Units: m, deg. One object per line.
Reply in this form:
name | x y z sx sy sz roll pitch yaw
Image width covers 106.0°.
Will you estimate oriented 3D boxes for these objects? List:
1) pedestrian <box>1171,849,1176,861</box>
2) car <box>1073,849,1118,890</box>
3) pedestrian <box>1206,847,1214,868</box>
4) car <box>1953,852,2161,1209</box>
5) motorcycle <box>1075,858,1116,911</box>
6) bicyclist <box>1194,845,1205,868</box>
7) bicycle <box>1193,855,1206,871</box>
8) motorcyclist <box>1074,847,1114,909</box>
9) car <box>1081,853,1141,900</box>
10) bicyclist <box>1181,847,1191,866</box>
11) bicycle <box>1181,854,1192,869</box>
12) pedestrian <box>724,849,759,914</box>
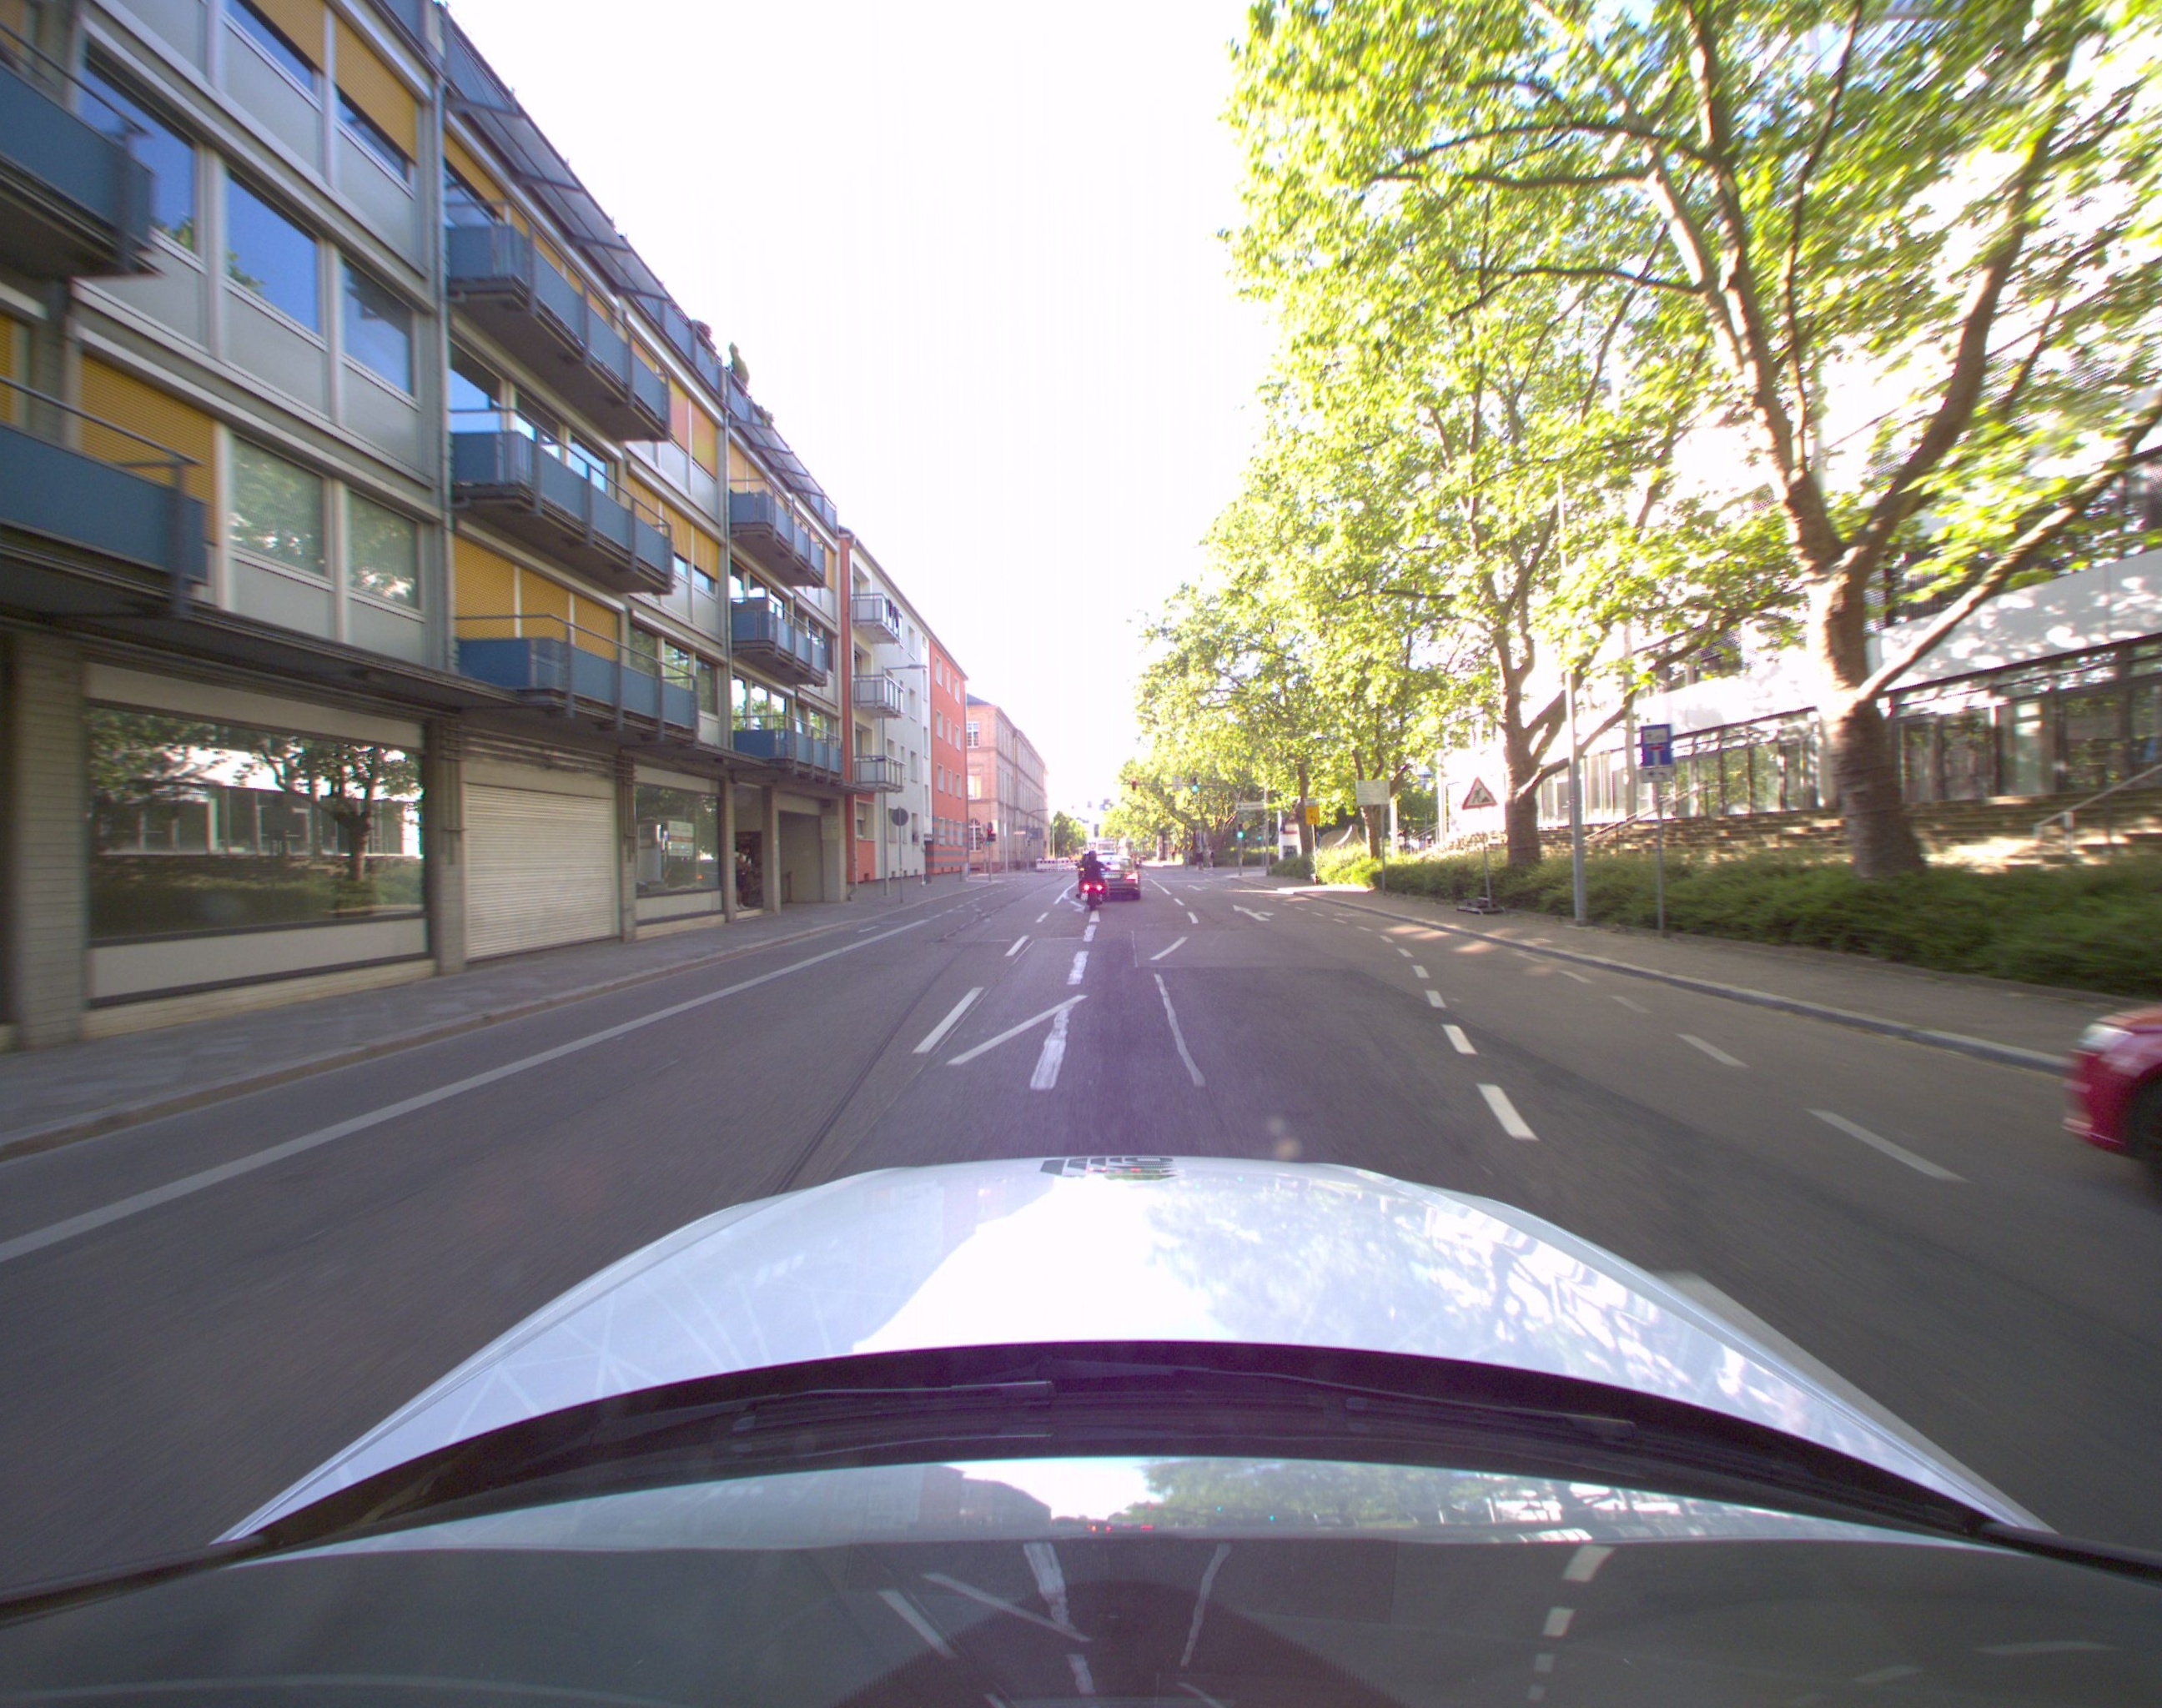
pedestrian | 12.345 0.188 108.937 0.590 1.578 0.527 0 -1 2
car | 0.550 0.632 34.438 1.627 1.650 3.845 0 0 -4
pedestrian | 11.262 0.303 70.878 0.619 1.774 0.574 0 -1 14
car | 5.233 0.732 1.892 1.687 1.449 4.435 1 0 0
motorcycle | 0.413 0.783 22.131 1.008 1.306 2.673 -1 0 2
bicyclist | 7.964 0.155 54.840 0.653 1.530 0.852 0 -1 1
bicycle | 7.961 0.599 54.842 0.653 1.070 1.927 0 0 2
motorcyclist | 0.358 0.630 22.165 1.008 1.602 1.406 -1 0 1
car | 0.973 0.696 26.850 1.821 1.420 3.816 -1 0 2
bicyclist | 8.228 0.187 63.776 0.653 1.530 0.906 0 -1 1
bicycle | 8.226 0.587 63.739 0.653 1.111 2.186 0 0 2
pedestrian | -8.426 0.675 20.246 0.511 1.579 0.756 -1 0 1
